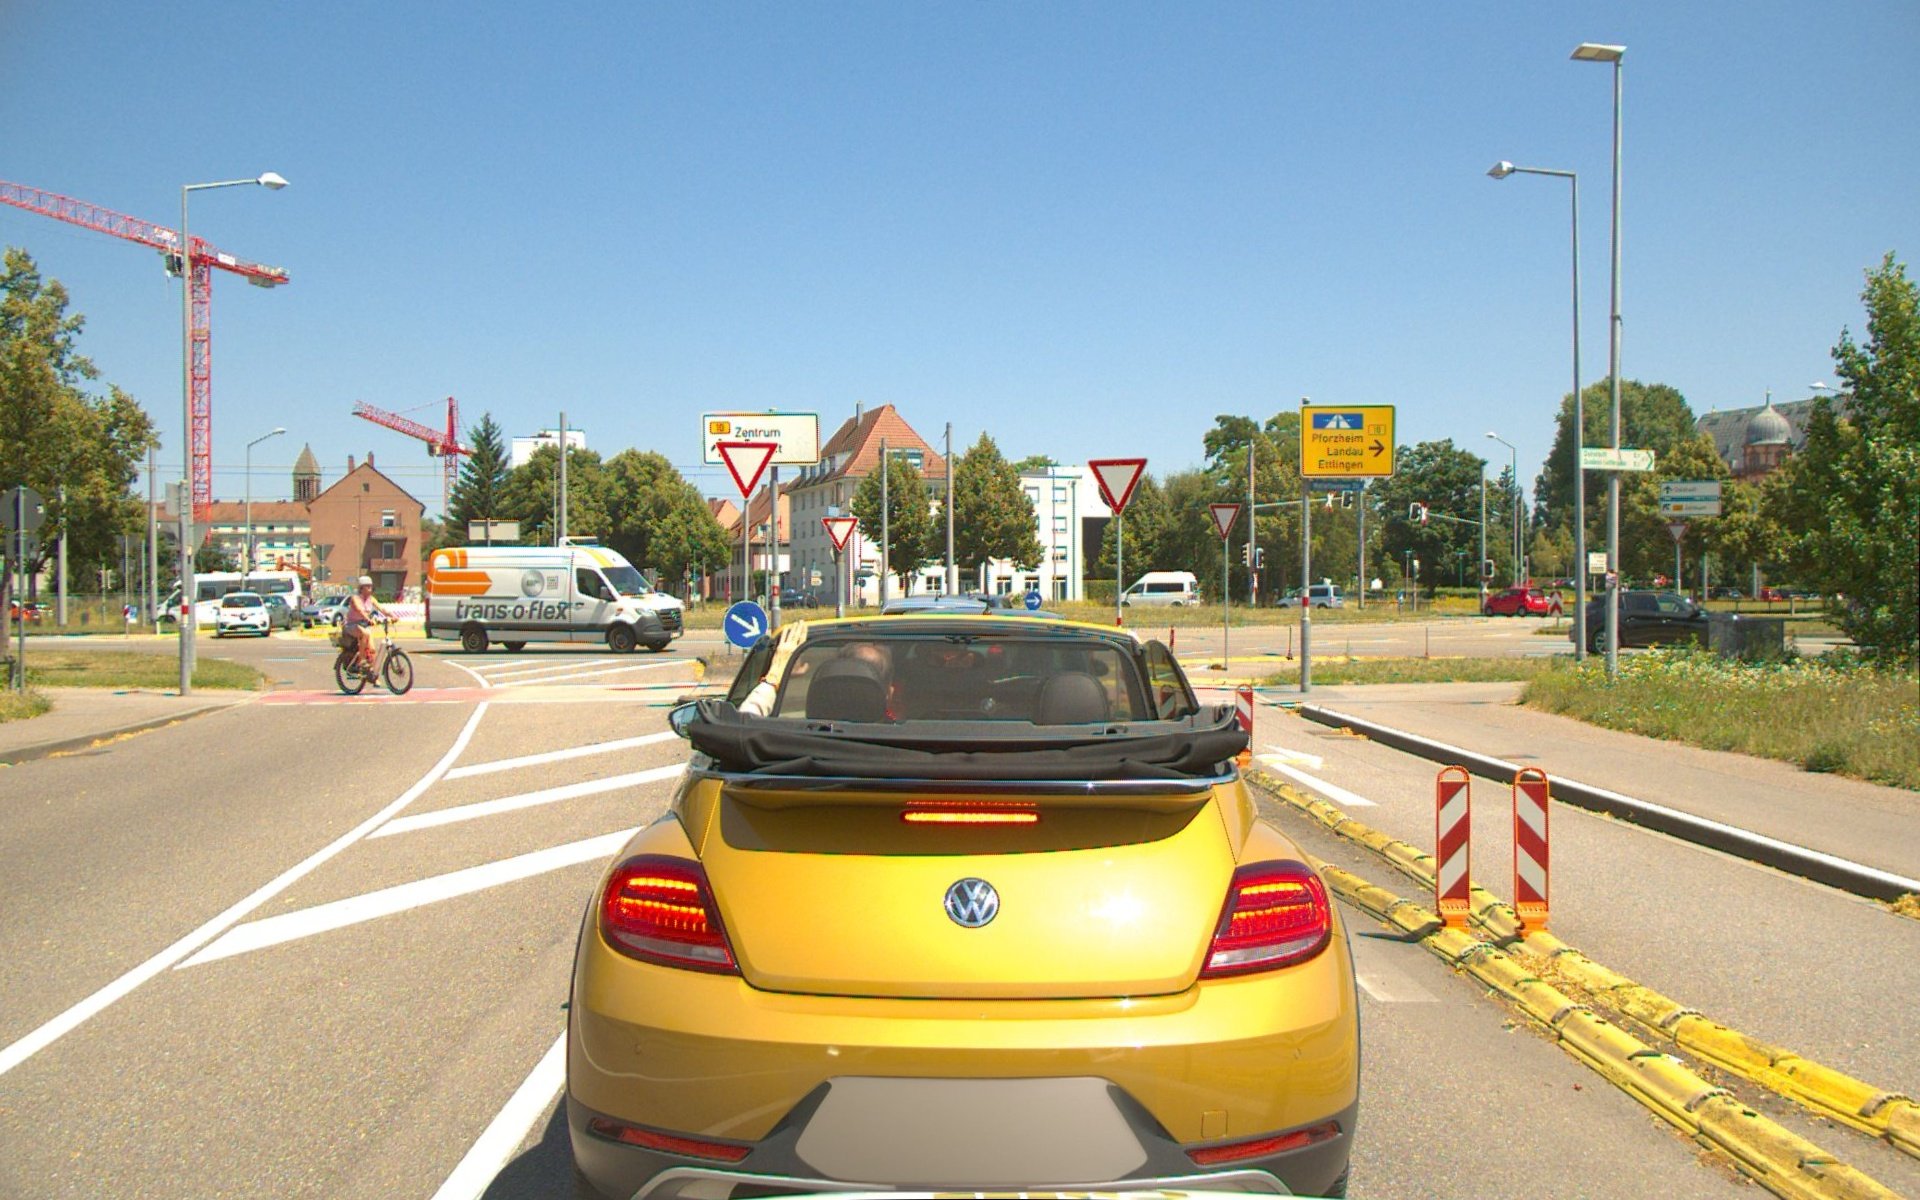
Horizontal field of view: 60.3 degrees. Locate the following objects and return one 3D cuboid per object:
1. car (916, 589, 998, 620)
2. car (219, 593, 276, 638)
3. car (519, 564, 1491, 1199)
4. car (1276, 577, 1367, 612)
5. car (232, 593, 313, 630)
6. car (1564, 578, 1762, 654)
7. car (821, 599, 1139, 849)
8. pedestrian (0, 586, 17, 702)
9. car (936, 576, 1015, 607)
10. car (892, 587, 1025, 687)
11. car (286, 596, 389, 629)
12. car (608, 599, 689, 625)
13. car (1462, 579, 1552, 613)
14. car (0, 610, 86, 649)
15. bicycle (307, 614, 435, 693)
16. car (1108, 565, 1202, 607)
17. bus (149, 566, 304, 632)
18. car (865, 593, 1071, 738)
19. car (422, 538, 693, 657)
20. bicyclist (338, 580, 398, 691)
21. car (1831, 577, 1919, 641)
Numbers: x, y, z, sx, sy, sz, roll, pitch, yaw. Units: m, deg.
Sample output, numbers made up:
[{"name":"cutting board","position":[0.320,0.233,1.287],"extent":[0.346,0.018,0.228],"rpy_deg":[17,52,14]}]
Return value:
[{"name":"car","position":[-0.211,0.305,111.333],"extent":[5.197,1.996,1.996],"rpy_deg":[1,0,12]},{"name":"car","position":[-25.547,0.525,59.256],"extent":[1.753,1.554,3.842],"rpy_deg":[-1,0,-25]},{"name":"car","position":[0.055,0.712,5.097],"extent":[1.729,1.507,4.257],"rpy_deg":[1,0,-1]},{"name":"car","position":[22.291,-0.343,102.207],"extent":[5.234,2.107,1.982],"rpy_deg":[1,0,42]},{"name":"car","position":[-27.528,0.446,66.349],"extent":[1.712,1.395,4.326],"rpy_deg":[1,0,-5]},{"name":"car","position":[15.719,0.346,37.172],"extent":[3.902,1.579,1.729],"rpy_deg":[0,2,17]},{"name":"car","position":[0.084,0.709,11.626],"extent":[1.814,1.389,4.257],"rpy_deg":[-1,0,-1]},{"name":"pedestrian","position":[-15.511,0.688,26.401],"extent":[0.631,1.817,0.956],"rpy_deg":[1,-1,-38]},{"name":"car","position":[1.086,-0.562,110.974],"extent":[5.200,1.996,1.995],"rpy_deg":[1,0,3]},{"name":"car","position":[-0.061,0.553,27.666],"extent":[2.023,1.506,4.542],"rpy_deg":[-1,0,-1]},{"name":"car","position":[-27.681,0.565,73.660],"extent":[1.693,1.427,4.267],"rpy_deg":[1,0,26]},{"name":"car","position":[-17.897,0.699,94.976],"extent":[4.264,1.395,1.737],"rpy_deg":[1,0,-26]},{"name":"car","position":[28.450,-0.218,86.155],"extent":[1.875,1.683,4.303],"rpy_deg":[1,0,-30]},{"name":"car","position":[-43.023,1.368,76.590],"extent":[4.385,1.766,1.829],"rpy_deg":[1,0,-31]},{"name":"bicycle","position":[-9.593,0.860,26.947],"extent":[2.049,1.242,0.634],"rpy_deg":[-1,0,22]},{"name":"car","position":[11.602,-0.837,98.534],"extent":[5.210,2.439,1.991],"rpy_deg":[1,0,29]},{"name":"bus","position":[-37.875,-0.015,85.491],"extent":[7.164,3.228,2.242],"rpy_deg":[1,-1,-26]},{"name":"car","position":[0.049,0.661,18.584],"extent":[2.023,1.406,4.257],"rpy_deg":[1,0,-1]},{"name":"car","position":[-10.274,-0.101,42.177],"extent":[6.720,2.877,2.000],"rpy_deg":[1,0,20]},{"name":"bicyclist","position":[-9.657,0.575,26.970],"extent":[0.656,1.783,0.592],"rpy_deg":[-1,1,20]},{"name":"car","position":[24.630,0.251,42.283],"extent":[3.903,1.579,1.729],"rpy_deg":[1,0,17]}]
